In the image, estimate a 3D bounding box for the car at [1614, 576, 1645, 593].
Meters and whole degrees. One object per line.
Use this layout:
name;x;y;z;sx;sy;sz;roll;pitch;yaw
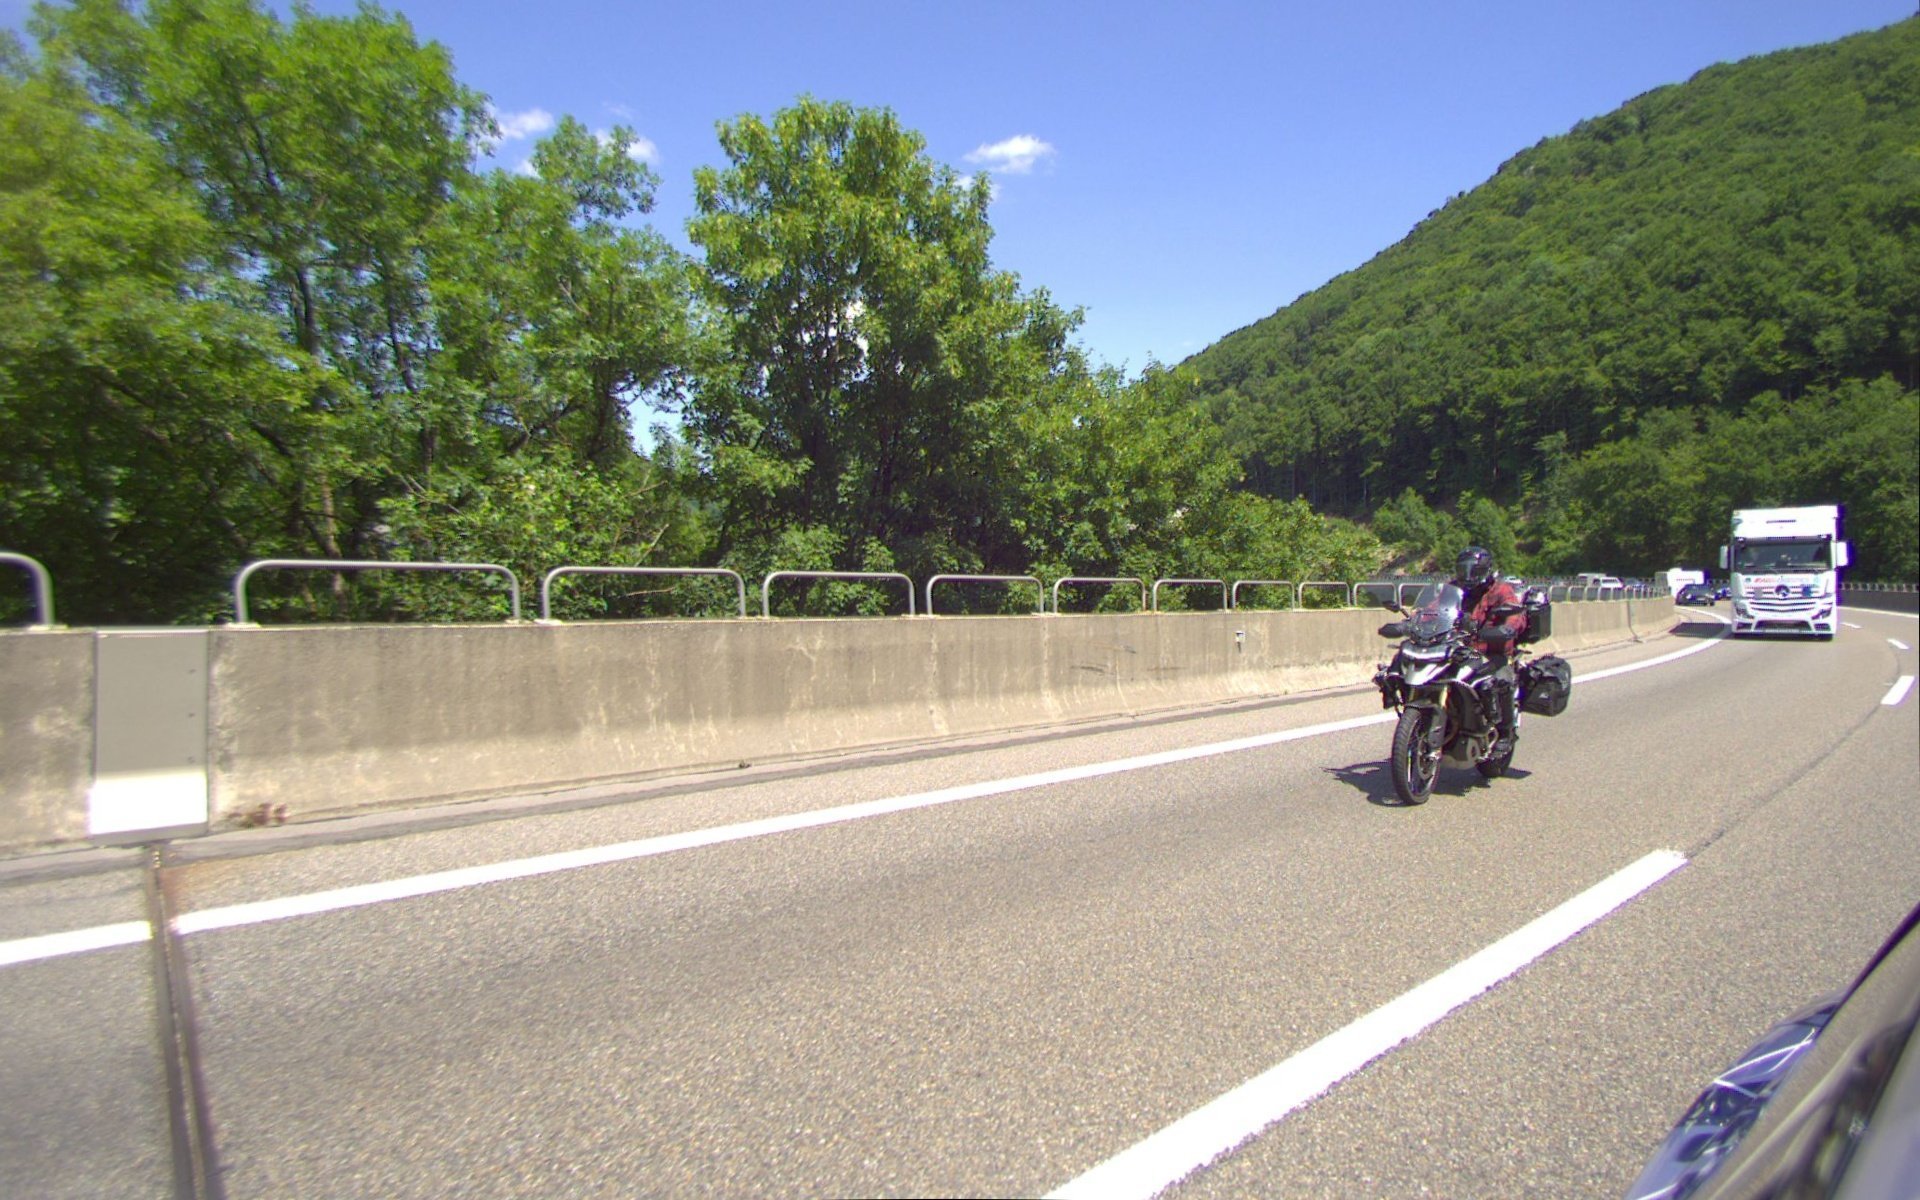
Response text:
car;75.934;-1.782;114.808;1.974;1.816;3.977;0;1;18

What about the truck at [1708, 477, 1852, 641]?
truck;26.968;-1.167;33.026;2.958;4.184;16.462;0;1;41

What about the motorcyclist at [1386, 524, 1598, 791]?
motorcyclist;4.077;0.380;7.749;1.315;1.823;1.062;0;1;-43

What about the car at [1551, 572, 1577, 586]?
car;83.455;-2.917;139.950;1.970;1.816;3.984;0;1;13

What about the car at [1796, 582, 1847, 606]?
car;55.291;-0.427;65.038;1.741;1.507;3.941;0;1;29

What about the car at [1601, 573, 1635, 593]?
car;68.695;-1.783;105.725;1.974;2.039;3.976;1;1;19

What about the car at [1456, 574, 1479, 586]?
car;84.852;-3.328;169.311;1.963;2.039;3.998;0;1;2

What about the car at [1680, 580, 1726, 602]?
car;54.425;-0.688;74.197;1.736;1.507;3.954;0;1;21

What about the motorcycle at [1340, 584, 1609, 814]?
motorcycle;3.949;0.604;7.632;2.636;1.437;0.973;-1;1;-43

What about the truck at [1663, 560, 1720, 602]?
truck;56.938;-1.464;78.933;2.594;3.141;6.790;0;1;27

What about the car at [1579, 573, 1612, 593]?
car;70.453;-1.905;112.217;1.972;2.038;3.982;2;2;15
